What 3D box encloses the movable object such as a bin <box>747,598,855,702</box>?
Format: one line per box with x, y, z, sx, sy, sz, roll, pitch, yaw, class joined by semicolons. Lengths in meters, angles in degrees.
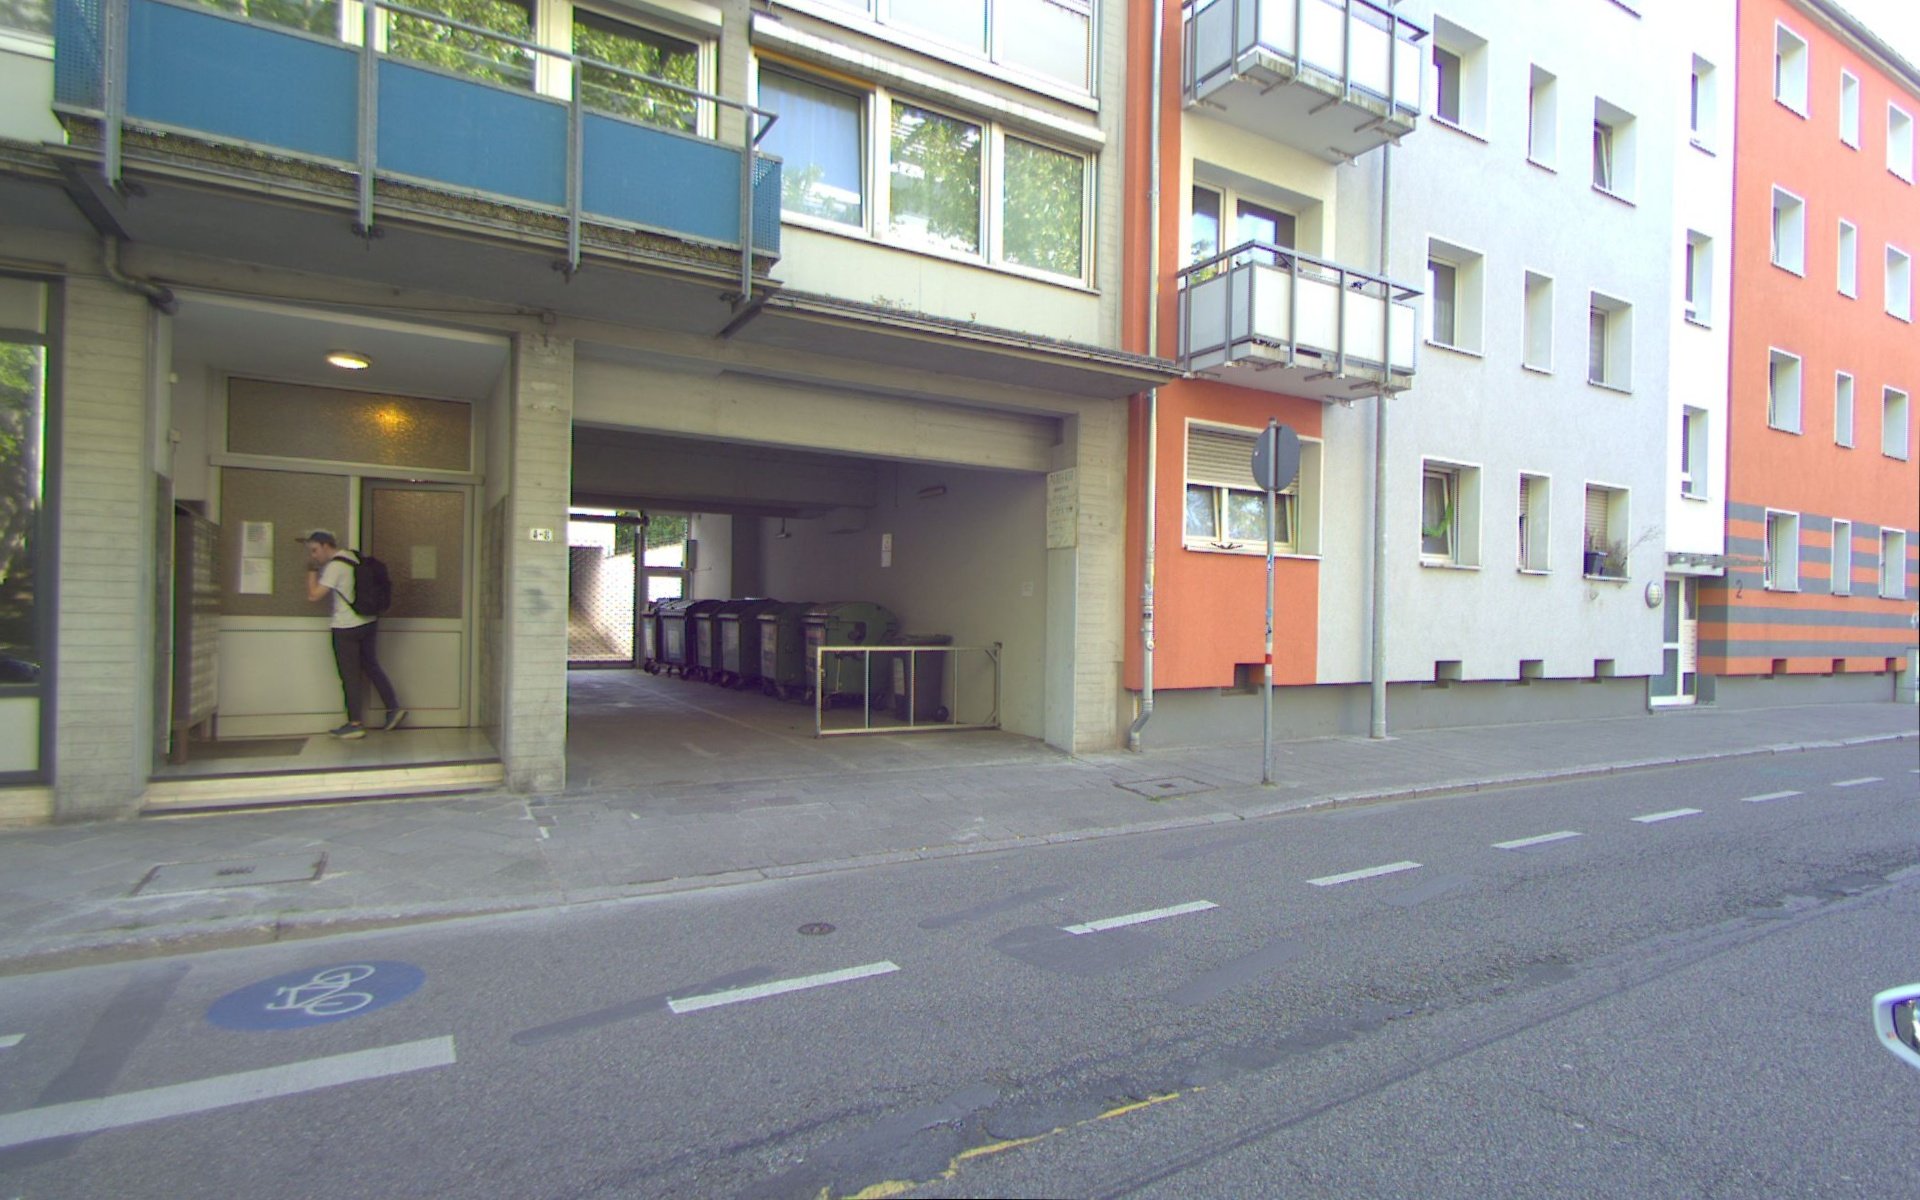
-2.408;0.726;15.133;1.186;1.467;1.319;2;0;-30;movable object such as a bin

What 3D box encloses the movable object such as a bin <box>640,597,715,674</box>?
-5.621;0.691;19.979;1.186;1.467;1.027;2;0;-30;movable object such as a bin

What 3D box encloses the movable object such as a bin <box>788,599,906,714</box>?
-1.567;0.745;13.799;1.159;1.467;1.319;2;0;-30;movable object such as a bin

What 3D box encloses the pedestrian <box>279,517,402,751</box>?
-5.281;0.287;8.605;0.776;1.904;0.578;2;0;-25;pedestrian

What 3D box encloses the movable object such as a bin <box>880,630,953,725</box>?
-0.540;0.945;12.407;0.745;1.116;0.463;2;0;-30;movable object such as a bin

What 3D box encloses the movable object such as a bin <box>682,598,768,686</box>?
-4.145;0.725;17.707;1.186;1.467;1.114;2;0;-30;movable object such as a bin

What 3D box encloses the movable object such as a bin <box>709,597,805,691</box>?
-3.374;0.704;16.617;1.186;1.467;1.319;2;0;-30;movable object such as a bin

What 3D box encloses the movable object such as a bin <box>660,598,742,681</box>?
-4.845;0.727;18.750;1.186;1.467;1.222;2;0;-30;movable object such as a bin
